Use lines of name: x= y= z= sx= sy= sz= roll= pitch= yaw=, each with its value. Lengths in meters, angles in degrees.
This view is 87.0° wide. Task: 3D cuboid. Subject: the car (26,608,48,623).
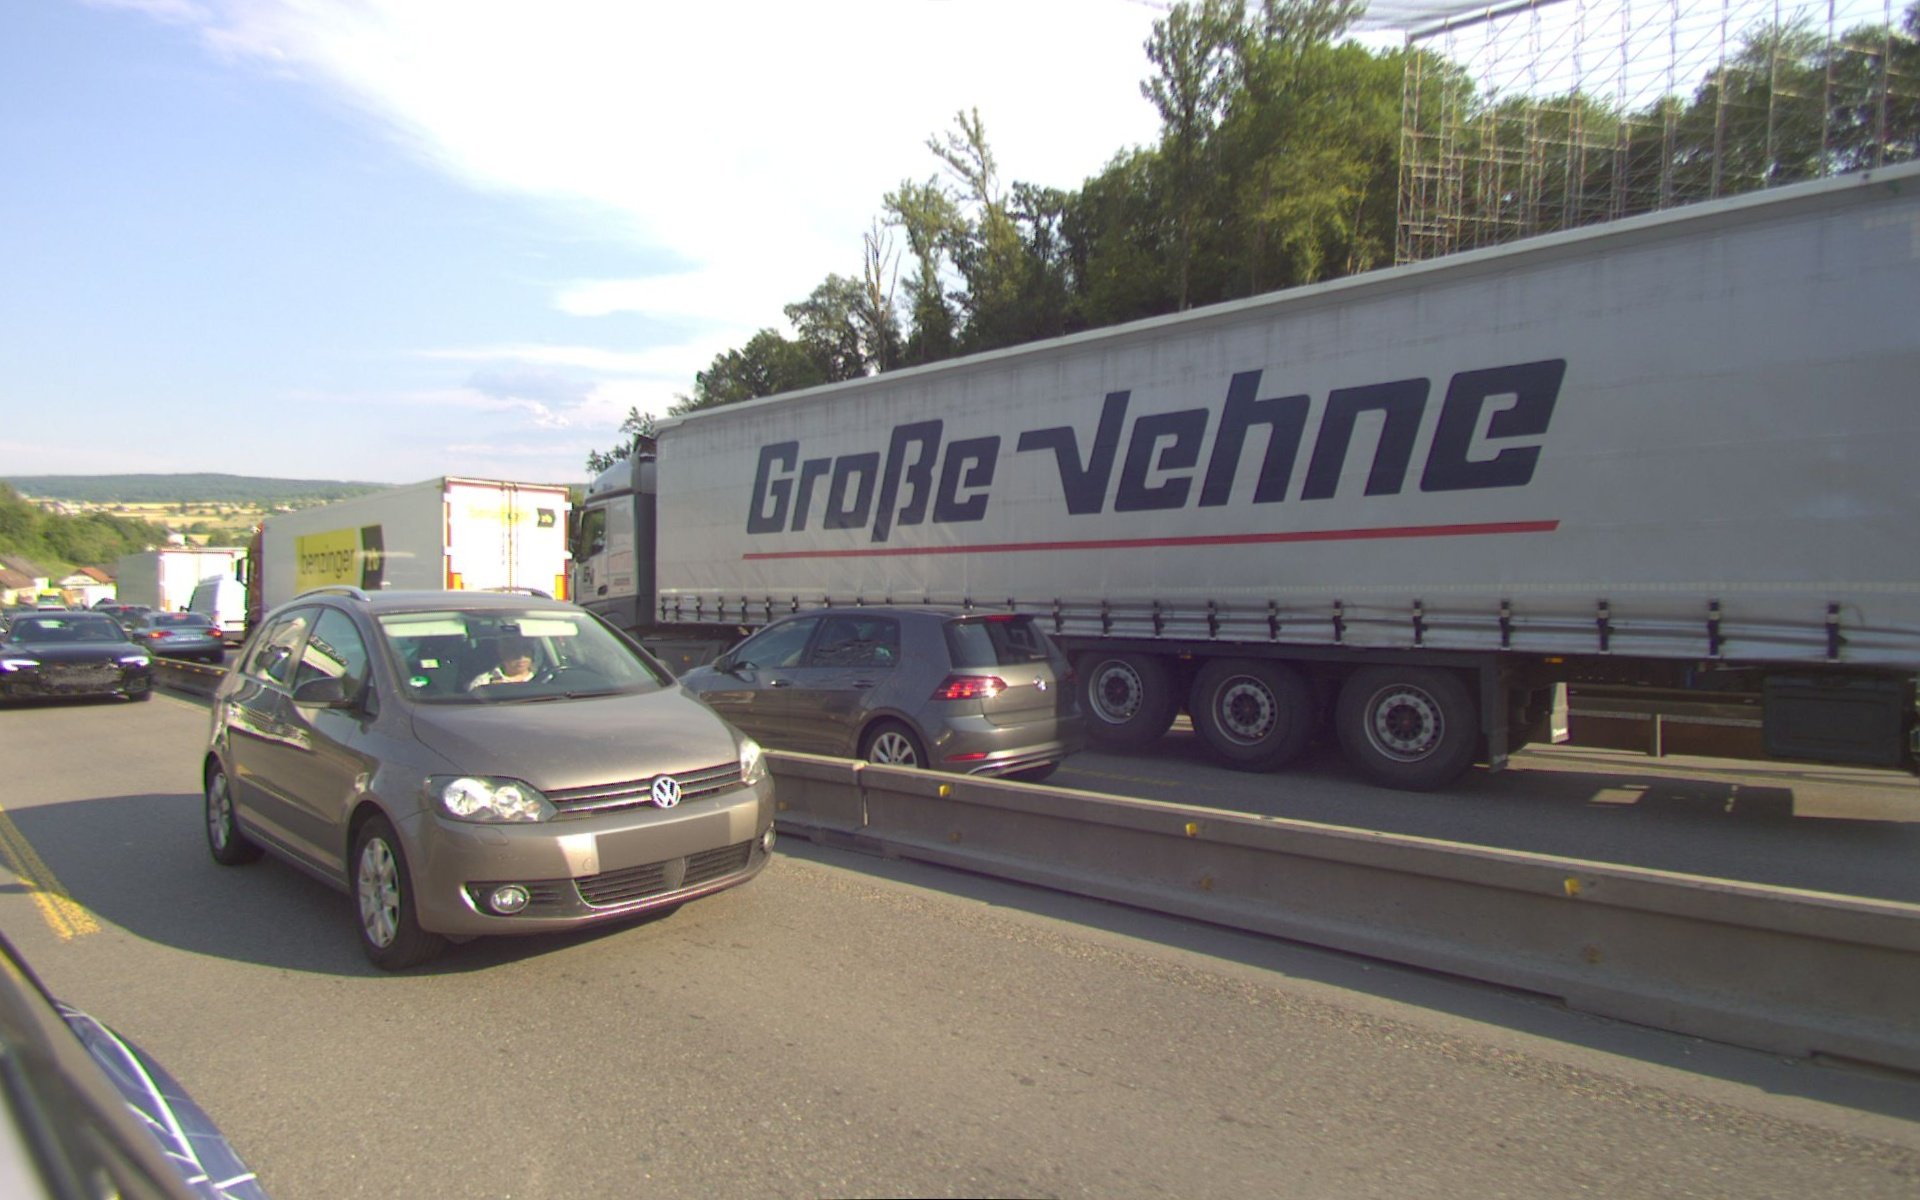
car: x=-106.043 y=1.773 z=116.274 sx=1.795 sy=1.591 sz=4.760 roll=3 pitch=-3 yaw=-43

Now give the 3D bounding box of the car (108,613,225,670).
car: x=-21.908 y=1.074 z=27.869 sx=4.890 sy=1.388 sz=1.713 roll=-1 pitch=1 yaw=42

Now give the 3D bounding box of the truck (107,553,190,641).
truck: x=-41.876 y=-0.126 z=52.170 sx=5.684 sy=4.250 sz=2.682 roll=0 pitch=0 yaw=44

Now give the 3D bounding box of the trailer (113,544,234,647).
trailer: x=-37.279 y=-0.153 z=47.672 sx=13.753 sy=4.250 sz=2.690 roll=0 pitch=0 yaw=44

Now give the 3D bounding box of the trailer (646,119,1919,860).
trailer: x=1.592 y=-0.598 z=10.957 sx=13.961 sy=4.172 sz=2.769 roll=0 pitch=0 yaw=42

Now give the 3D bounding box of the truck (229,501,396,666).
truck: x=-19.067 y=-0.423 z=29.686 sx=5.933 sy=4.332 sz=2.715 roll=0 pitch=0 yaw=43

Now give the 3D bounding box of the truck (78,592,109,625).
truck: x=-93.947 y=0.952 z=109.761 sx=2.416 sy=3.489 sz=7.629 roll=1 pitch=-1 yaw=-40

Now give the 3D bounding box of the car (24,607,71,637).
car: x=-52.303 y=1.240 z=57.987 sx=1.847 sy=1.601 sz=4.808 roll=-1 pitch=0 yaw=-43

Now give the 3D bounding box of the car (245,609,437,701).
car: x=-11.549 y=0.931 z=18.731 sx=4.836 sy=1.450 sz=1.714 roll=-1 pitch=0 yaw=42

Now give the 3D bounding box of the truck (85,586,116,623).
truck: x=-102.781 y=0.525 z=121.081 sx=2.674 sy=4.119 sz=14.176 roll=1 pitch=-1 yaw=-40

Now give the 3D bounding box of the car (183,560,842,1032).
car: x=-2.623 y=0.662 z=5.394 sx=4.098 sy=1.585 sz=1.666 roll=0 pitch=0 yaw=41

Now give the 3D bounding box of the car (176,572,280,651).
car: x=-27.669 y=0.432 z=38.152 sx=6.951 sy=2.710 sz=1.999 roll=-1 pitch=0 yaw=44

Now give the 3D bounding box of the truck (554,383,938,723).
truck: x=-3.441 y=-0.562 z=15.428 sx=5.931 sy=4.172 sz=2.758 roll=0 pitch=0 yaw=42

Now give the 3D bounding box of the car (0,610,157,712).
car: x=-14.500 y=0.894 z=16.340 sx=4.001 sy=1.409 sz=1.842 roll=0 pitch=-1 yaw=43

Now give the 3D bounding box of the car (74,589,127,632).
car: x=-62.816 y=0.734 z=73.903 sx=2.307 sy=2.940 sz=7.637 roll=1 pitch=-1 yaw=-45

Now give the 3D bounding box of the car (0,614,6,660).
car: x=-31.312 y=1.186 z=31.910 sx=1.675 sy=1.409 sz=4.002 roll=-2 pitch=0 yaw=-45

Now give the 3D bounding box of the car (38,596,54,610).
car: x=-144.782 y=0.526 z=160.250 sx=1.795 sy=2.015 sz=4.760 roll=3 pitch=-3 yaw=-43

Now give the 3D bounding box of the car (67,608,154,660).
car: x=-29.119 y=1.108 z=34.620 sx=4.863 sy=1.670 sz=1.733 roll=-1 pitch=-1 yaw=43

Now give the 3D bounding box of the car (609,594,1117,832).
car: x=-1.015 y=0.731 z=8.452 sx=4.398 sy=1.475 sz=1.633 roll=-1 pitch=1 yaw=41

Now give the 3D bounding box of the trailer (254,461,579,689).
trailer: x=-14.060 y=-0.447 z=25.078 sx=13.880 sy=4.366 sz=2.736 roll=0 pitch=0 yaw=43
